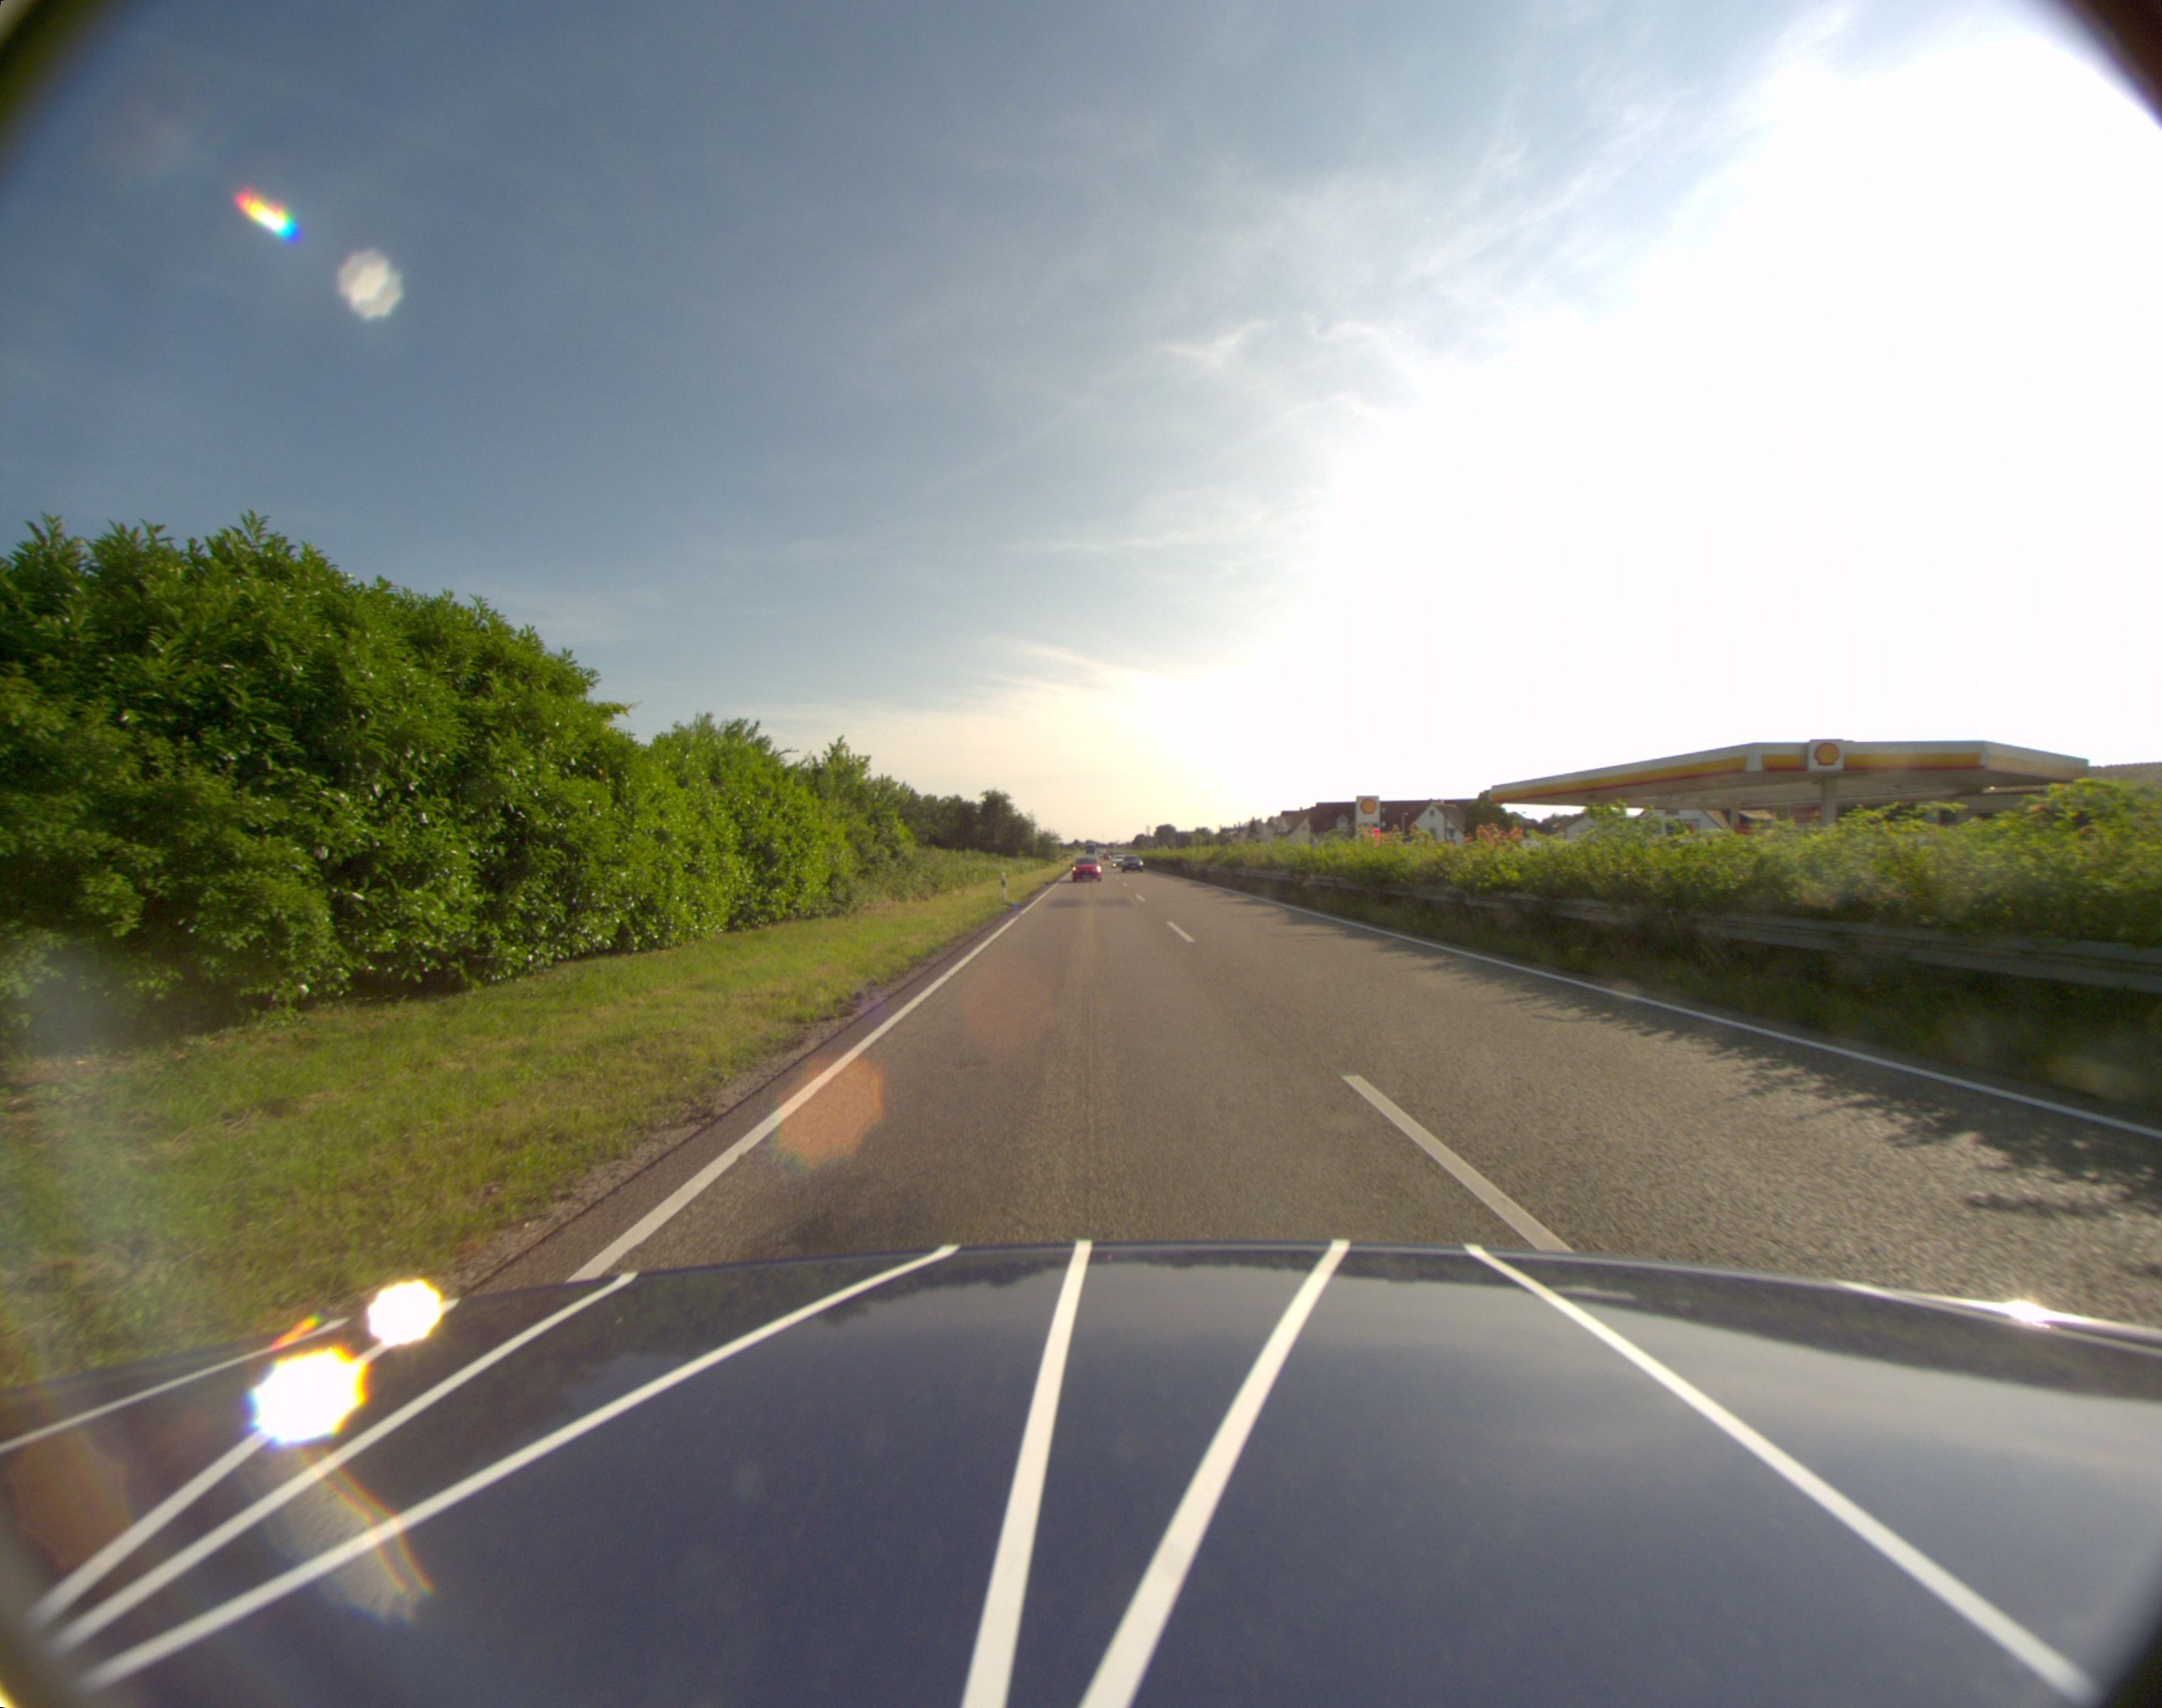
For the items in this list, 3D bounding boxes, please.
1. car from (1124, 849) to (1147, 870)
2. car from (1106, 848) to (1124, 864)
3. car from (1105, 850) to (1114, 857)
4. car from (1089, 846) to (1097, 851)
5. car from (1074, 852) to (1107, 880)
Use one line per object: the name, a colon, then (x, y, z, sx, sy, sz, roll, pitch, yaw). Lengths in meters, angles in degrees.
car: (4.634, 0.462, 64.968, 1.693, 1.695, 4.000, -2, 1, 2)
car: (3.975, 0.175, 89.318, 1.998, 1.762, 4.000, -1, 1, 2)
car: (6.083, -0.134, 162.970, 1.998, 1.412, 4.000, -1, 1, 2)
car: (3.379, -1.538, 212.287, 1.998, 1.412, 4.000, -1, 1, 2)
car: (0.618, 0.706, 46.099, 1.821, 1.565, 4.000, -1, 1, 2)
